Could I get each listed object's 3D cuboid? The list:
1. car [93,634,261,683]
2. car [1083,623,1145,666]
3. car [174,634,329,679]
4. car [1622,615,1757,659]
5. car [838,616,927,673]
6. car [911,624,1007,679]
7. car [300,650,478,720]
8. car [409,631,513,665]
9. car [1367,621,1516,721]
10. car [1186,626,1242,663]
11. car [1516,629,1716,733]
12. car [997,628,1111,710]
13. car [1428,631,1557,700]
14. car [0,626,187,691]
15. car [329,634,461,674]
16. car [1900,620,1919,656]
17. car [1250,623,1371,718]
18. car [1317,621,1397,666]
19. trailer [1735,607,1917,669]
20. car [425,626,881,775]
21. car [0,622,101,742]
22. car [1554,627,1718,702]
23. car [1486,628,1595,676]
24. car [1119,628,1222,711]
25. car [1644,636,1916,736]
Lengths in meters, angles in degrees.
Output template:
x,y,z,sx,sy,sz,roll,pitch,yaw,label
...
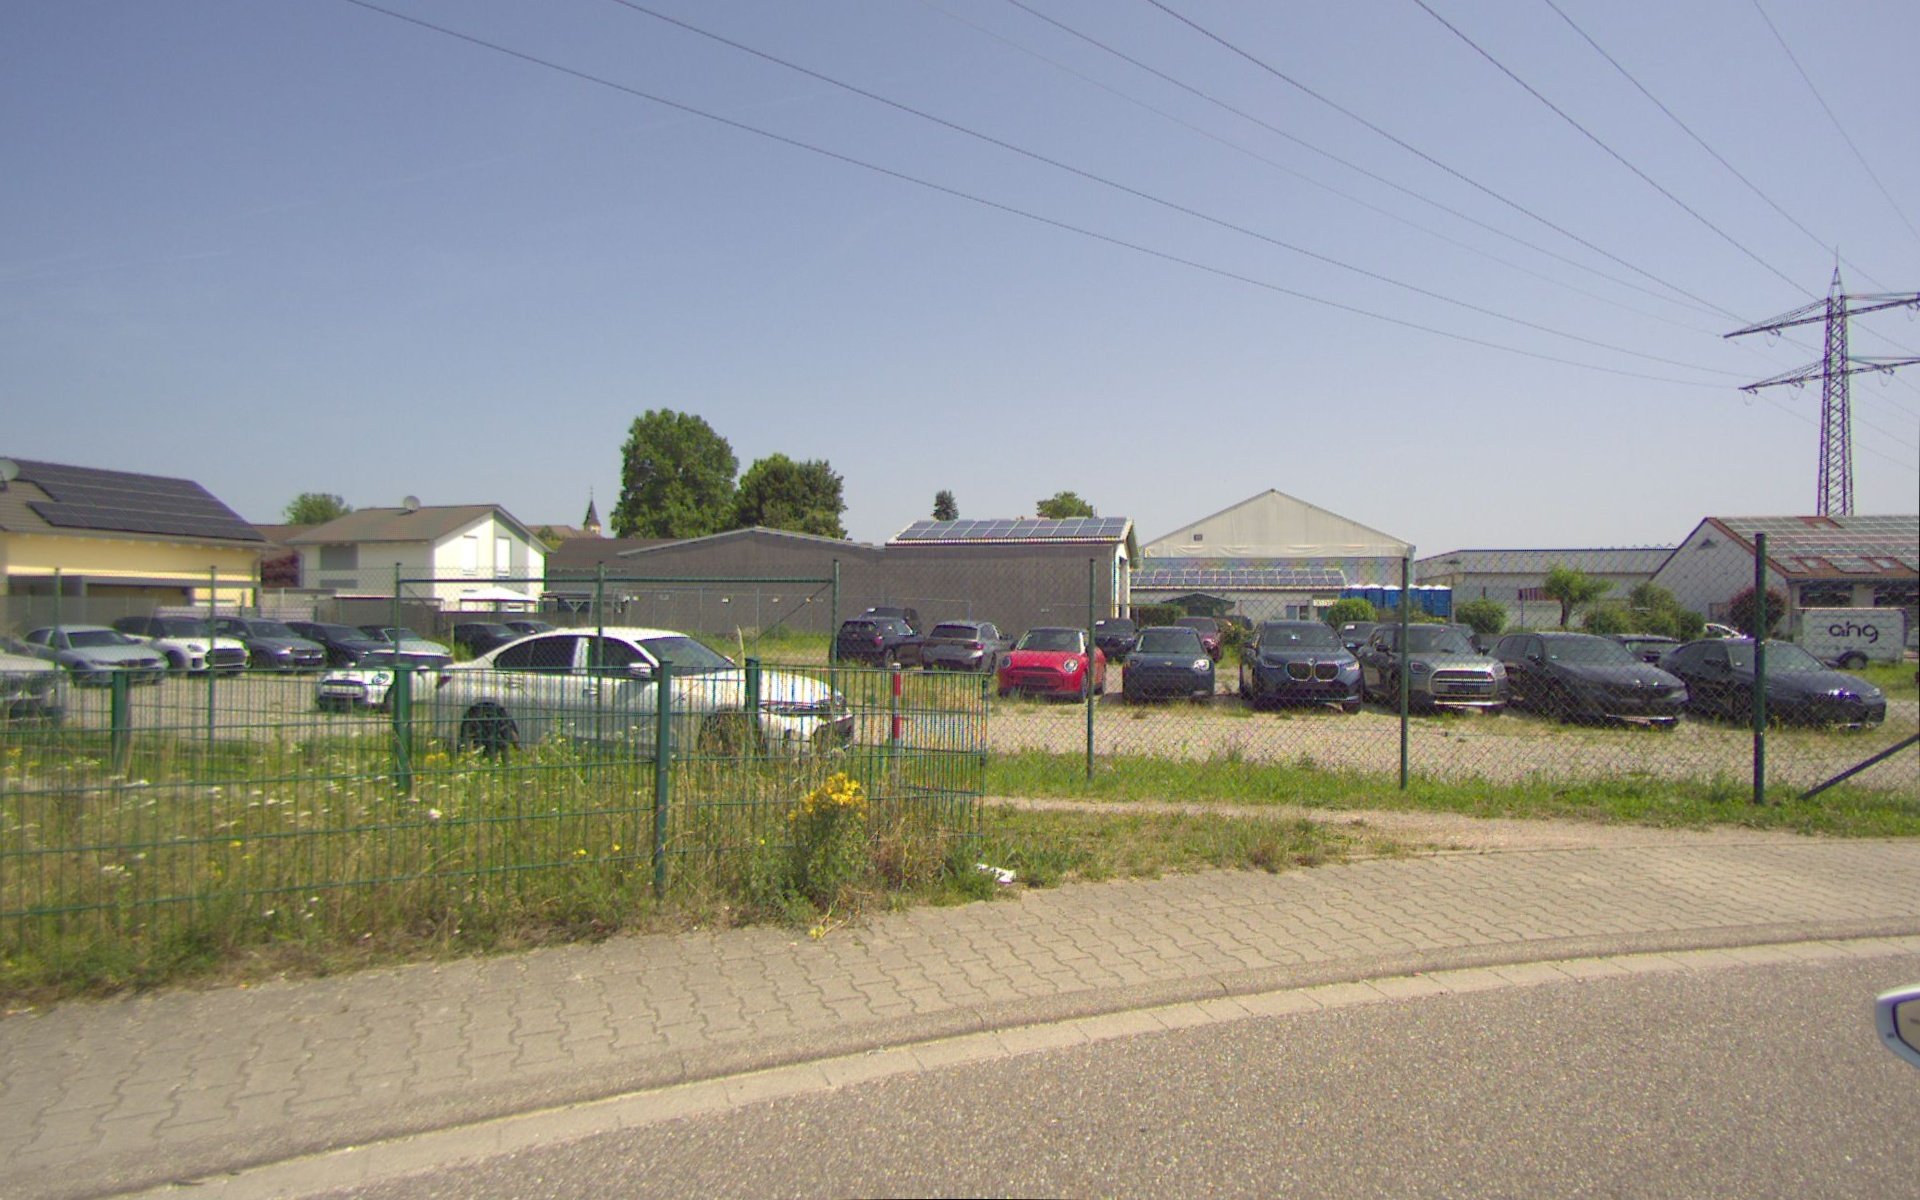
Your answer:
x,y,z,sx,sy,sz,roll,pitch,yaw,label
-22.946,1.692,29.473,4.051,1.252,1.795,1,-1,15,car
5.666,1.568,36.626,1.831,1.452,4.607,1,-1,14,car
-22.322,1.761,31.687,4.051,1.252,1.795,1,-1,15,car
28.901,1.430,39.922,3.920,1.619,1.878,1,-1,16,car
-2.094,1.198,28.033,1.831,1.433,3.443,1,-1,7,car
0.044,1.312,26.524,1.830,1.315,3.443,1,-1,12,car
-13.013,1.893,23.124,1.625,1.332,3.393,1,-1,15,car
-20.299,1.933,40.910,3.536,1.252,1.794,1,-1,17,car
9.032,1.255,19.136,1.831,1.665,3.636,1,-1,14,car
9.129,1.575,36.251,1.831,1.191,4.607,1,-1,14,car
11.541,1.342,17.985,1.831,1.575,3.773,1,-1,14,car
2.015,1.337,20.671,1.831,1.473,3.443,1,-1,14,car
12.696,1.504,24.200,1.960,1.439,4.002,0,-1,16,car
-23.412,1.534,27.050,4.051,1.556,2.043,1,-1,15,car
-20.438,1.930,36.372,4.051,1.252,1.795,1,-1,15,car
43.483,1.654,43.485,3.827,1.536,1.509,0,-1,14,car
6.616,1.259,19.291,1.831,1.582,3.699,1,-1,14,car
13.930,1.476,35.491,1.961,1.454,4.668,1,-1,14,car
29.048,1.233,33.890,4.382,1.971,1.711,0,-1,29,trailer
-3.302,0.996,11.063,4.470,1.324,1.870,1,-1,15,car
-14.944,1.094,14.250,4.348,1.583,2.043,1,-1,15,car
15.487,1.410,23.301,1.962,1.454,4.423,1,-1,18,car
19.556,1.714,34.068,1.961,1.454,4.668,1,-1,14,car
4.263,1.305,20.098,1.831,1.452,3.651,1,-1,14,car
14.418,1.418,18.078,1.961,1.454,4.668,1,-1,14,car
